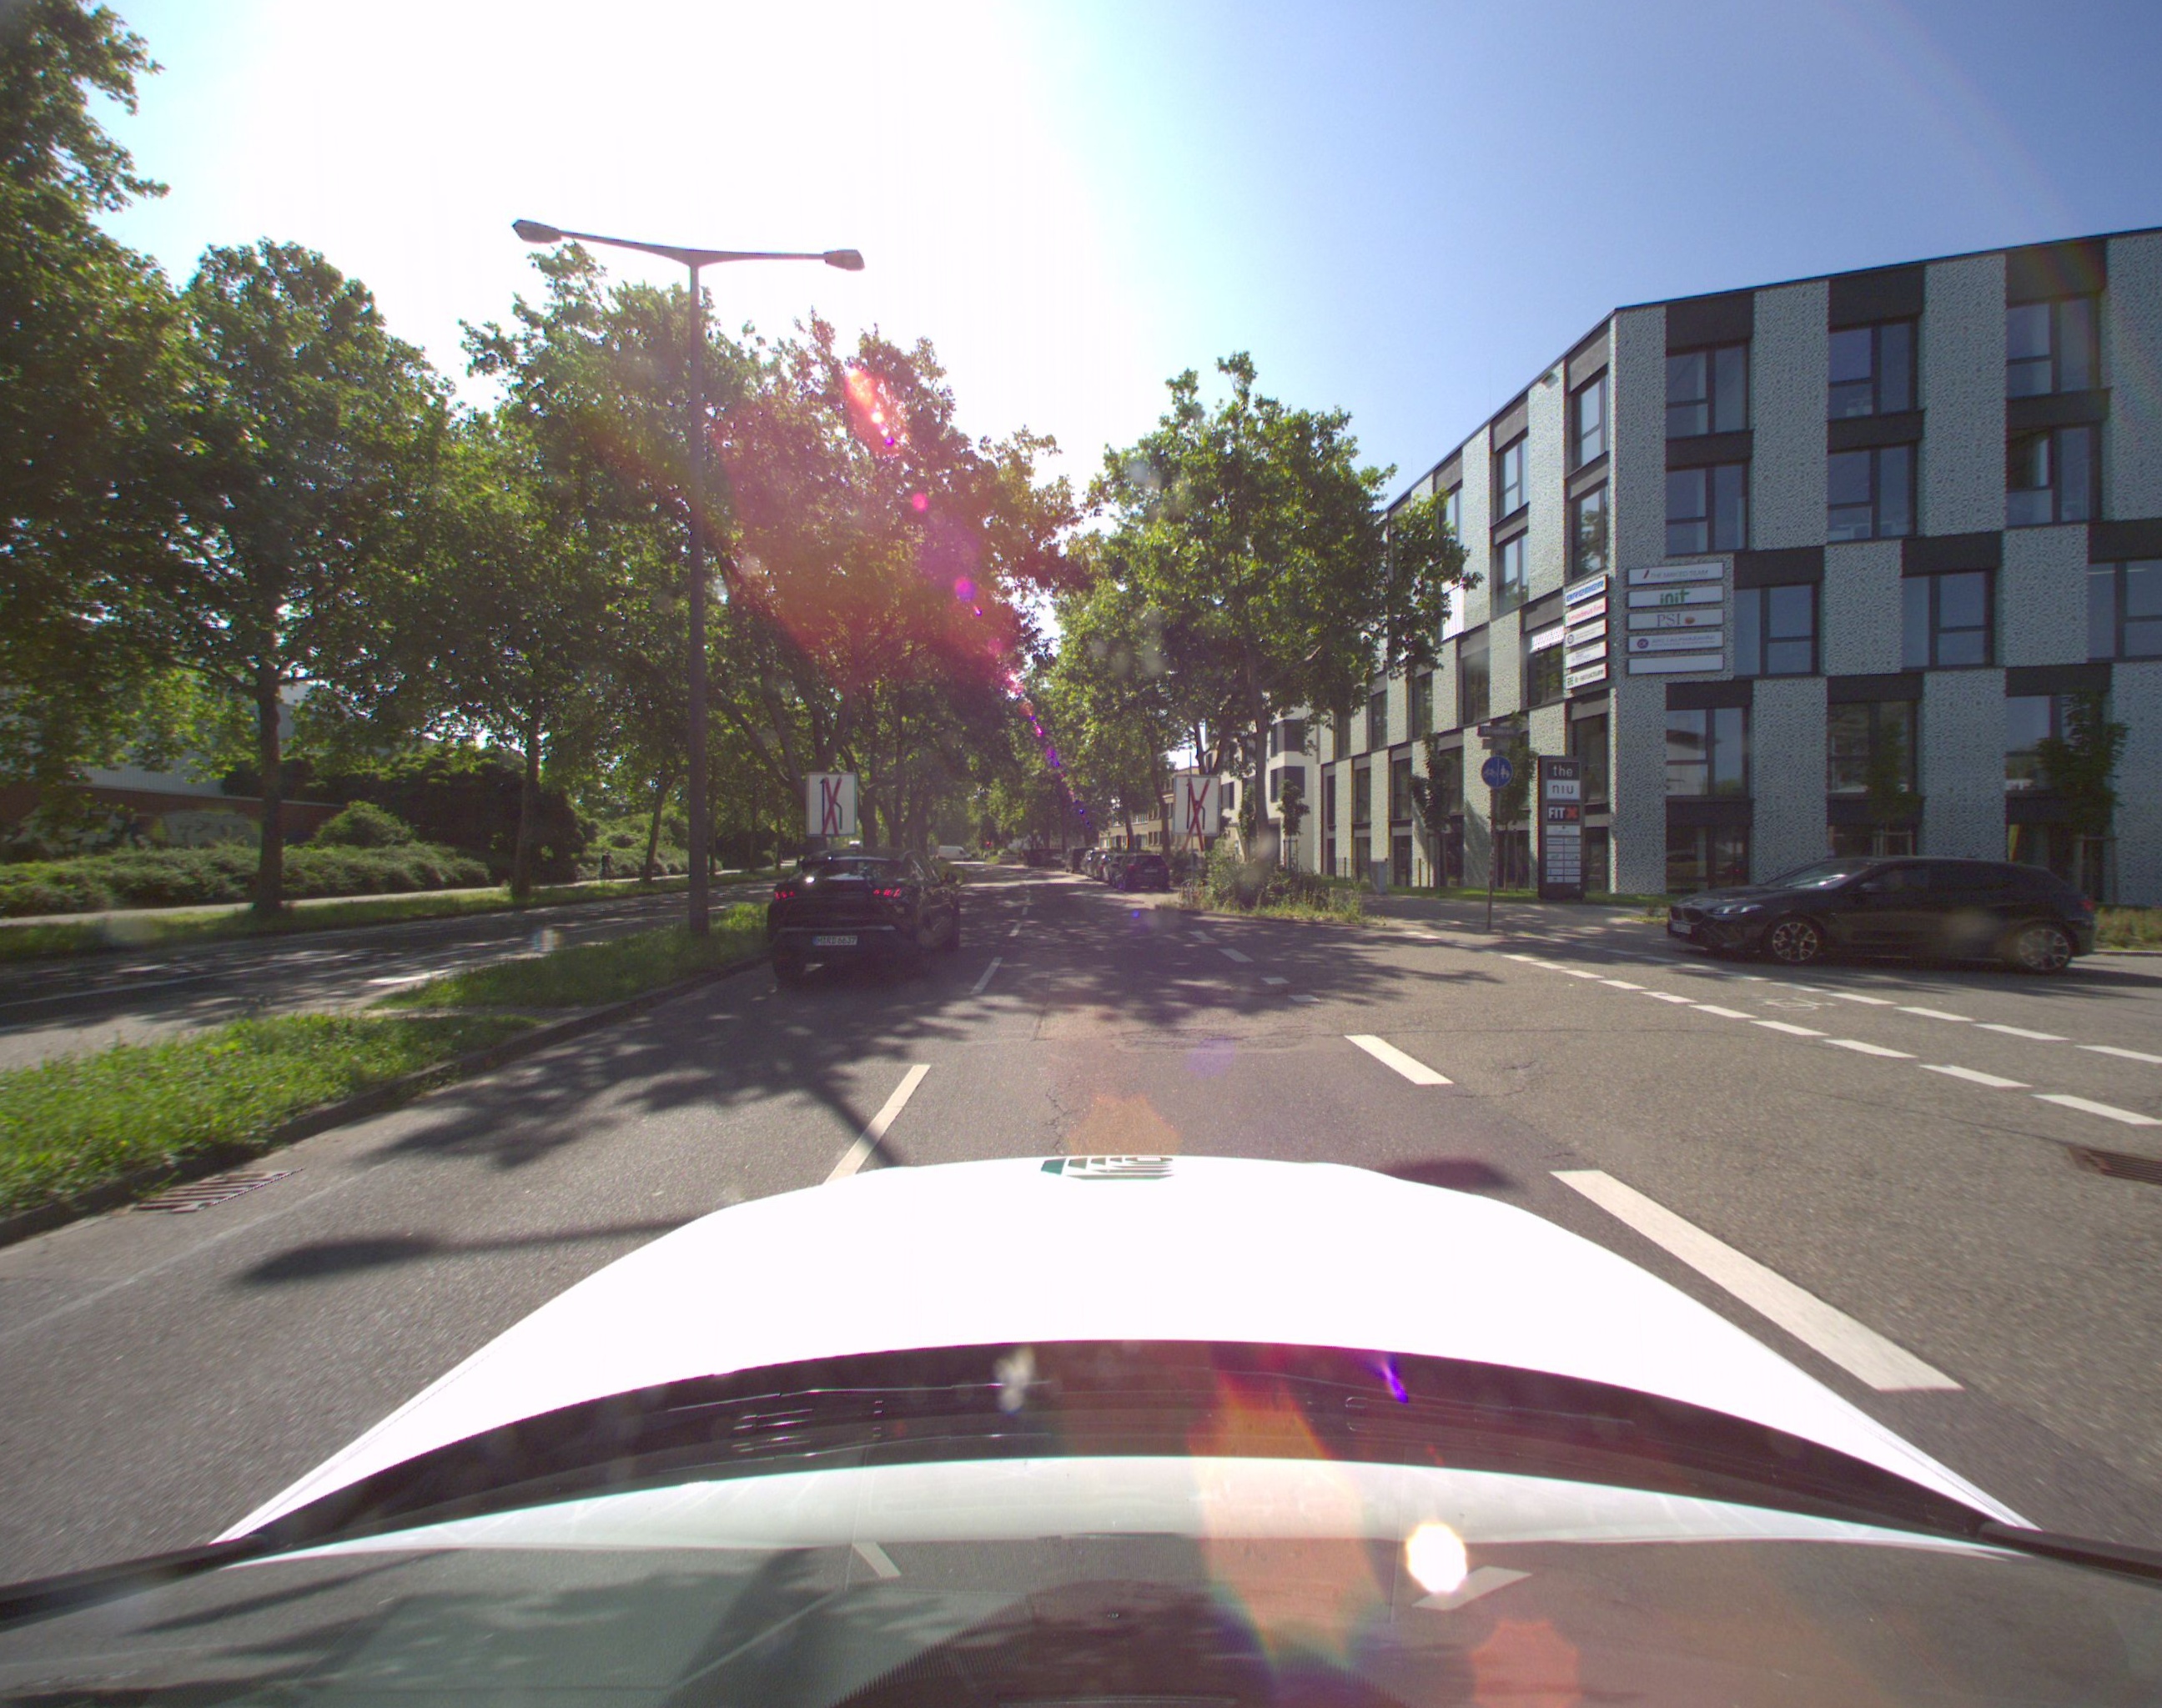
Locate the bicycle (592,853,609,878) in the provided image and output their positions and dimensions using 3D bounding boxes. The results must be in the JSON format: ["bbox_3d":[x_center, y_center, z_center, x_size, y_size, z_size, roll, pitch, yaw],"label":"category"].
[{"bbox_3d":[-26.603,0.622,45.109,0.427,1.385,0.954,0,0,-4],"label":"bicycle"}]

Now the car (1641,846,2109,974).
[{"bbox_3d":[10.498,0.674,11.162,4.221,1.517,2.006,0,0,10],"label":"car"}]

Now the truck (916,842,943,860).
[{"bbox_3d":[-32.194,-0.618,173.336,5.527,3.678,1.993,-1,0,-10],"label":"truck"}]

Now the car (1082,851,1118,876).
[{"bbox_3d":[1.164,0.573,50.716,1.704,1.487,4.475,-1,0,-6],"label":"car"}]

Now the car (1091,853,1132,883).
[{"bbox_3d":[1.579,0.701,43.688,1.703,1.455,4.650,-1,0,-3],"label":"car"}]

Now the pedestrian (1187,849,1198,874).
[{"bbox_3d":[7.166,0.492,52.299,0.612,1.581,0.569,-1,0,-5],"label":"pedestrian"}]

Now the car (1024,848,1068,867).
[{"bbox_3d":[-3.527,0.363,82.590,4.121,1.880,1.770,-1,0,-26],"label":"car"}]

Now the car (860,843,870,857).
[{"bbox_3d":[-51.866,-0.987,196.043,2.060,3.434,6.739,0,0,-13],"label":"car"}]

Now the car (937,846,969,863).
[{"bbox_3d":[-20.491,0.077,130.608,4.985,2.542,1.992,-1,0,-12],"label":"car"}]

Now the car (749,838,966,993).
[{"bbox_3d":[-2.846,0.688,11.464,1.867,1.696,4.433,-2,0,-1],"label":"car"}]

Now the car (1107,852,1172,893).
[{"bbox_3d":[2.286,0.674,32.981,1.705,1.487,4.707,-2,0,-7],"label":"car"}]

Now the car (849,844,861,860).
[{"bbox_3d":[-51.302,-0.566,184.859,2.454,3.449,7.064,1,1,-14],"label":"car"}]

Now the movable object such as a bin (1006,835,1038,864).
[{"bbox_3d":[-6.908,-0.551,94.515,2.345,3.241,3.395,-1,0,-34],"label":"movable object such as a bin"}]

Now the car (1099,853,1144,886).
[{"bbox_3d":[1.879,0.696,38.822,1.703,1.487,4.096,-1,0,-4],"label":"car"}]

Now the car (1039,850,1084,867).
[{"bbox_3d":[-1.904,0.461,80.973,4.119,1.633,1.698,-1,0,-25],"label":"car"}]

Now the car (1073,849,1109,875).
[{"bbox_3d":[0.642,0.500,55.779,1.706,1.669,4.520,-1,0,-8],"label":"car"}]

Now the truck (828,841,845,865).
[{"bbox_3d":[-37.848,-0.205,126.199,2.456,3.449,7.060,1,1,-16],"label":"truck"}]

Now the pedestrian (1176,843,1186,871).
[{"bbox_3d":[6.391,0.199,52.088,0.475,1.808,0.636,-1,0,-5],"label":"pedestrian"}]

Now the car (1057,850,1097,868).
[{"bbox_3d":[-0.421,0.438,76.739,3.554,1.640,1.652,-1,0,-12],"label":"car"}]

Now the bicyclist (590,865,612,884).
[{"bbox_3d":[-26.602,1.138,45.138,0.427,1.013,1.423,0,0,-3],"label":"bicyclist"}]
